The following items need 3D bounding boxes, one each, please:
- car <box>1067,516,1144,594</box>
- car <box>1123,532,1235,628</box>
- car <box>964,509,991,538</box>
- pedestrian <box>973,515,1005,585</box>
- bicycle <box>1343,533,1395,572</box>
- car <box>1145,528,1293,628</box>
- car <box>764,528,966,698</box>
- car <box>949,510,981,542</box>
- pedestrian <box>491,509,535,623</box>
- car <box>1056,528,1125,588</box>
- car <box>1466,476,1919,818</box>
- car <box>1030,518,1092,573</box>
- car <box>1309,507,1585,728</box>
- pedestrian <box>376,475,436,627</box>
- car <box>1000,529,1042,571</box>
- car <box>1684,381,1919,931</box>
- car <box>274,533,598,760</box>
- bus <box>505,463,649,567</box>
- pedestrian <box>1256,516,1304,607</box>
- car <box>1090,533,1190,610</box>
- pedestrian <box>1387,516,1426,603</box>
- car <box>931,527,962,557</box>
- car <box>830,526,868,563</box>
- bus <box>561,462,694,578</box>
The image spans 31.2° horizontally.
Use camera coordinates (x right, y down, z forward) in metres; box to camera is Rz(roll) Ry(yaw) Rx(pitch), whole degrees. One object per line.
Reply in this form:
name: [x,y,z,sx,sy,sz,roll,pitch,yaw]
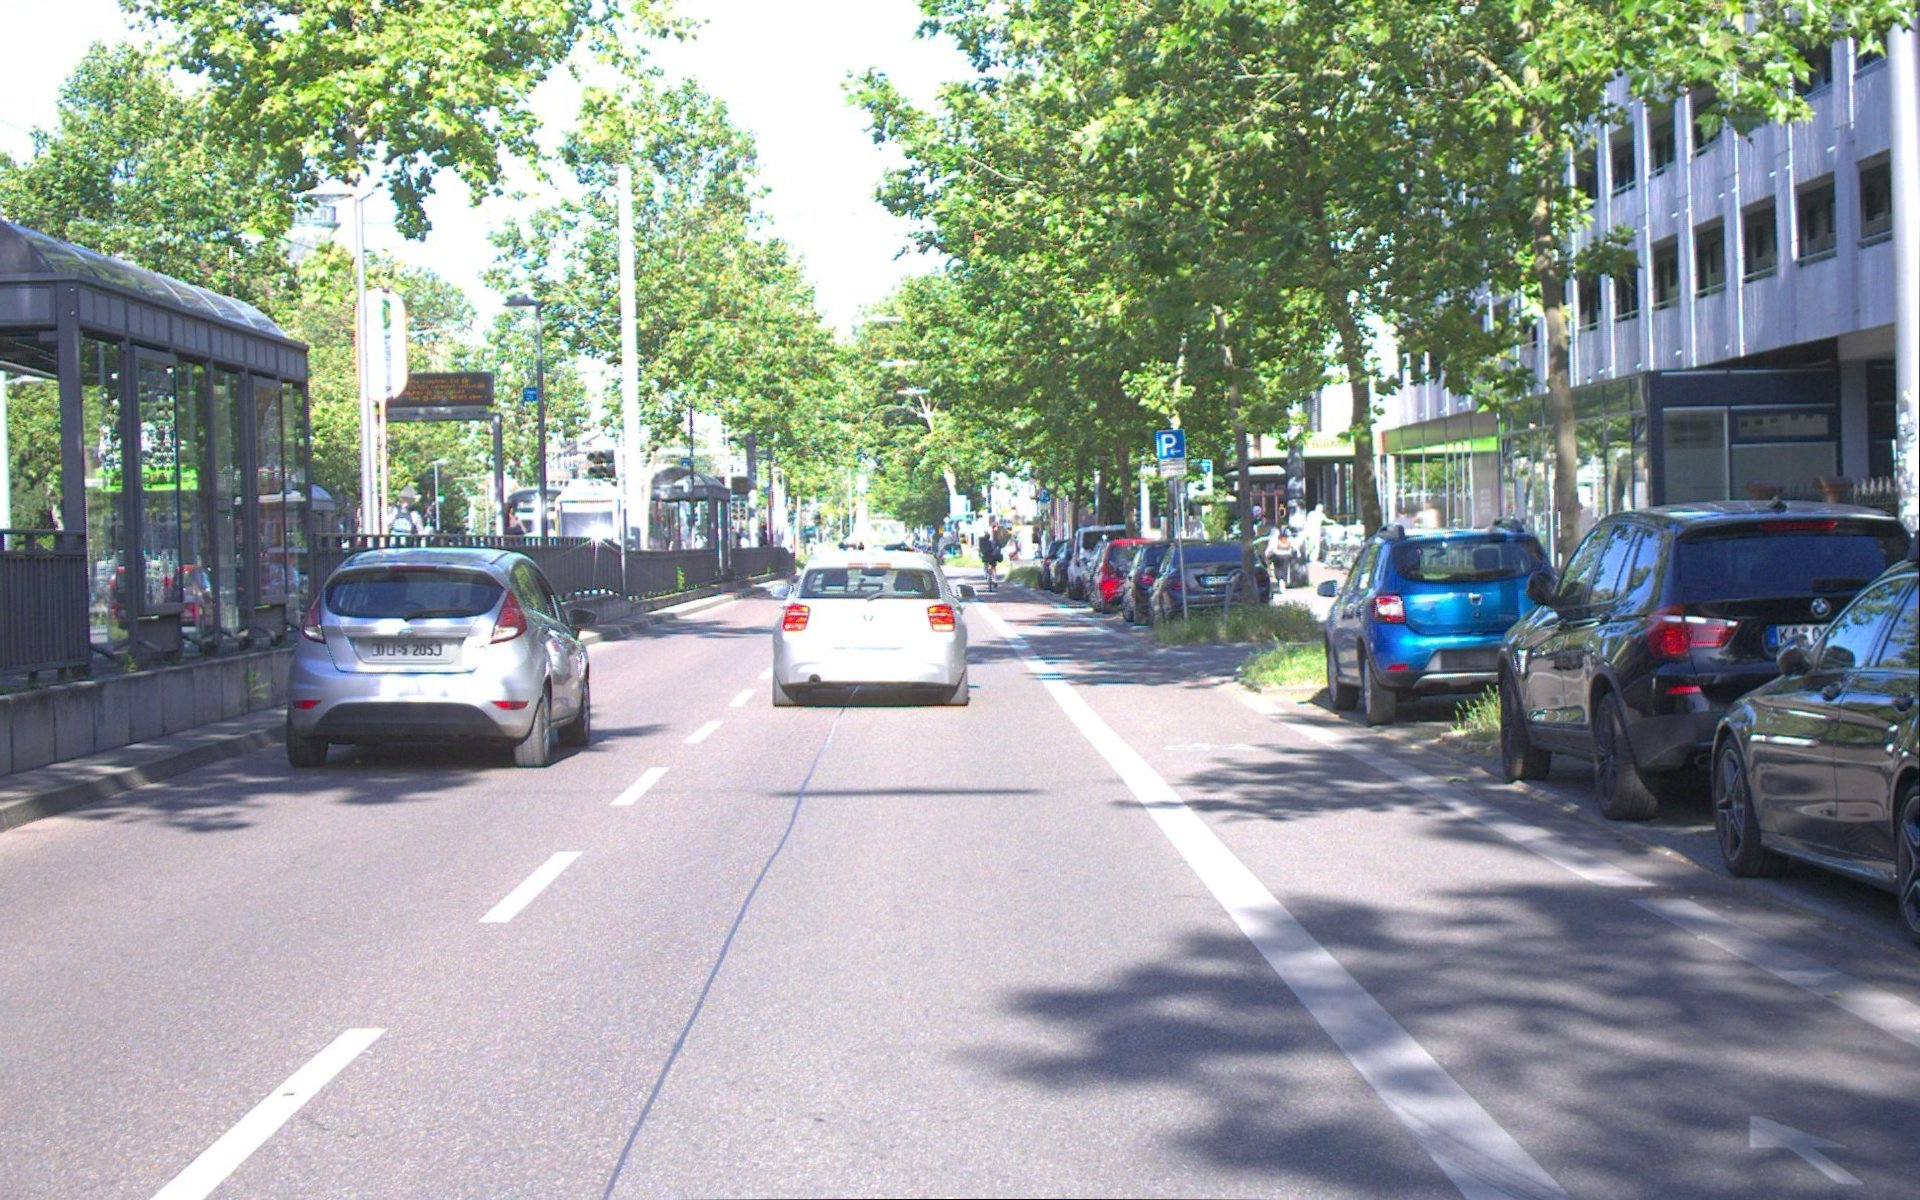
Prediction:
car: [3.611,-1.145,85.917,1.724,1.874,4.000,1,1,0]
car: [3.804,-0.379,60.254,1.669,1.546,4.001,1,2,0]
car: [1.229,-5.394,242.501,1.875,2.006,3.712,1,2,0]
pedestrian: [0.834,-1.453,99.933,0.838,2.006,0.648,1,2,7]
bicycle: [11.189,-1.306,94.144,1.383,1.052,0.243,1,2,-1]
car: [4.094,-0.370,55.030,1.993,1.504,4.598,1,1,0]
car: [-0.878,0.074,32.299,1.762,1.427,4.001,1,2,-1]
car: [0.301,-4.730,219.333,1.993,2.007,4.000,-1,1,-1]
pedestrian: [-7.719,-0.591,59.337,0.639,1.947,0.814,1,2,0]
car: [3.597,-1.184,95.367,1.711,1.557,4.001,1,2,0]
car: [4.163,0.186,19.585,1.798,1.694,4.738,-1,1,-1]
car: [2.993,-1.633,102.226,1.700,1.529,3.717,1,2,0]
car: [4.032,0.082,29.043,1.692,1.652,4.040,-1,2,-1]
pedestrian: [-7.194,-0.647,44.660,0.639,1.947,0.814,1,2,0]
car: [3.057,-2.535,173.040,1.993,2.006,4.001,1,2,0]
car: [4.273,0.149,13.607,1.754,1.958,4.738,-1,2,-1]
car: [-3.511,0.256,23.604,1.646,1.358,3.760,1,2,0]
bus: [-14.586,-3.367,133.101,2.869,3.616,24.605,-1,2,0]
pedestrian: [7.160,-0.862,76.865,0.963,2.007,0.938,-1,1,0]
car: [3.663,-0.597,70.627,1.806,1.515,4.000,1,1,0]
pedestrian: [10.482,-0.958,80.791,0.788,2.007,0.891,-1,1,0]
car: [-0.921,-3.936,231.867,2.071,2.007,4.000,-1,1,0]
car: [-6.287,-3.153,195.354,1.993,2.006,4.001,1,2,0]
bus: [-11.201,-2.807,117.617,2.750,3.613,18.849,-1,2,0]
